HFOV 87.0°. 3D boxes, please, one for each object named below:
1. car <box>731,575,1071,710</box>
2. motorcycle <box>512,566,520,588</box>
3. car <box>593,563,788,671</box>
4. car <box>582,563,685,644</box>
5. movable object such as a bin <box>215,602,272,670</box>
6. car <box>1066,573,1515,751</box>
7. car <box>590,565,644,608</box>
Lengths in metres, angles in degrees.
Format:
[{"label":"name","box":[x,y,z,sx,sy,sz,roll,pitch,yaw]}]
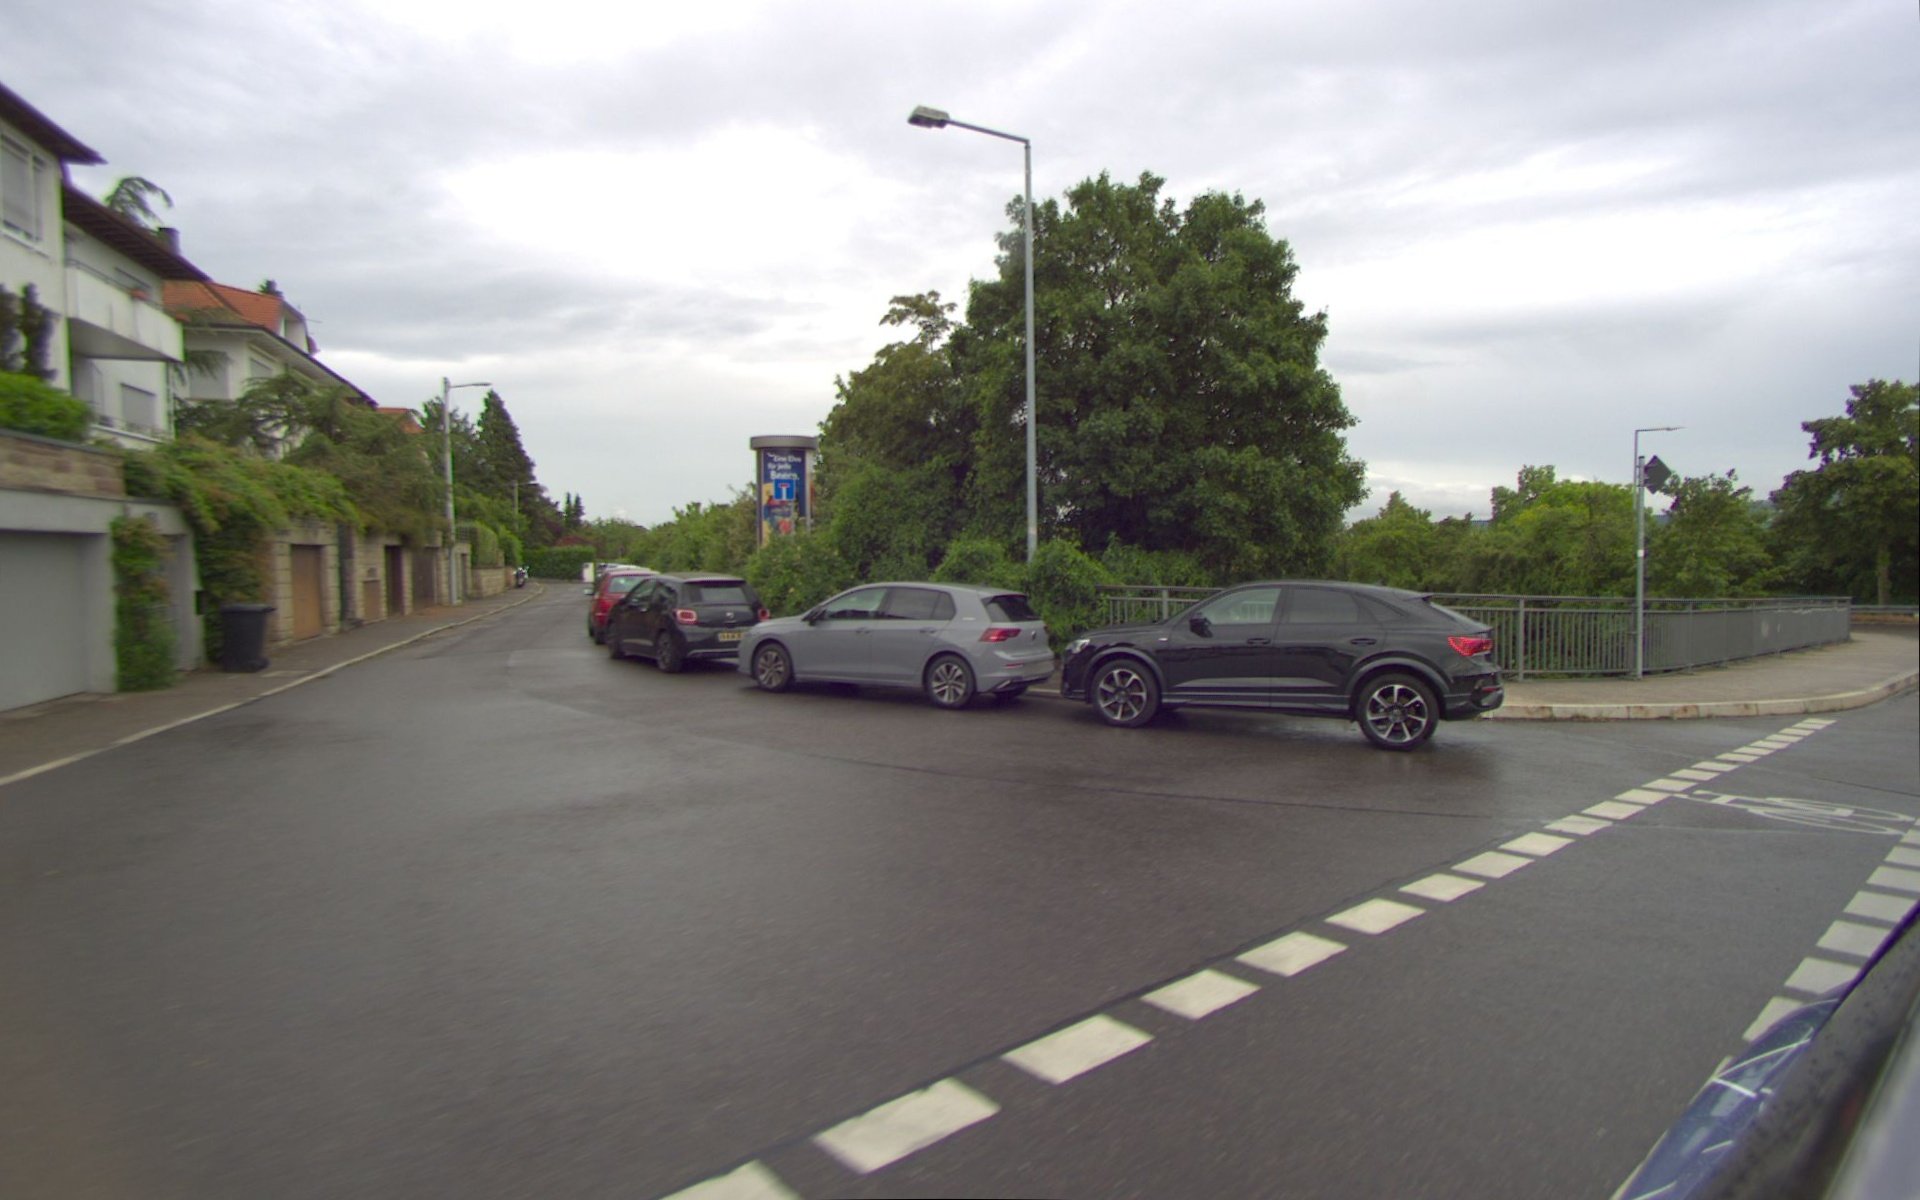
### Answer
[{"label":"car","box":[-0.776,0.425,12.882,4.019,1.443,1.784,1,2,28]},{"label":"motorcycle","box":[-29.806,-1.514,67.961,0.376,1.461,0.898,-1,0,-29]},{"label":"car","box":[-4.437,0.193,16.360,1.807,1.507,3.601,1,2,-37]},{"label":"car","box":[-6.874,-0.002,21.097,1.727,1.507,3.610,-1,2,-23]},{"label":"movable object such as a bin","box":[-11.270,0.552,15.917,0.673,1.031,0.530,1,1,-41]},{"label":"car","box":[3.420,0.515,10.694,4.160,1.542,1.982,1,0,26]},{"label":"car","box":[-12.574,-0.493,37.001,1.722,1.472,4.008,1,0,-21]}]
